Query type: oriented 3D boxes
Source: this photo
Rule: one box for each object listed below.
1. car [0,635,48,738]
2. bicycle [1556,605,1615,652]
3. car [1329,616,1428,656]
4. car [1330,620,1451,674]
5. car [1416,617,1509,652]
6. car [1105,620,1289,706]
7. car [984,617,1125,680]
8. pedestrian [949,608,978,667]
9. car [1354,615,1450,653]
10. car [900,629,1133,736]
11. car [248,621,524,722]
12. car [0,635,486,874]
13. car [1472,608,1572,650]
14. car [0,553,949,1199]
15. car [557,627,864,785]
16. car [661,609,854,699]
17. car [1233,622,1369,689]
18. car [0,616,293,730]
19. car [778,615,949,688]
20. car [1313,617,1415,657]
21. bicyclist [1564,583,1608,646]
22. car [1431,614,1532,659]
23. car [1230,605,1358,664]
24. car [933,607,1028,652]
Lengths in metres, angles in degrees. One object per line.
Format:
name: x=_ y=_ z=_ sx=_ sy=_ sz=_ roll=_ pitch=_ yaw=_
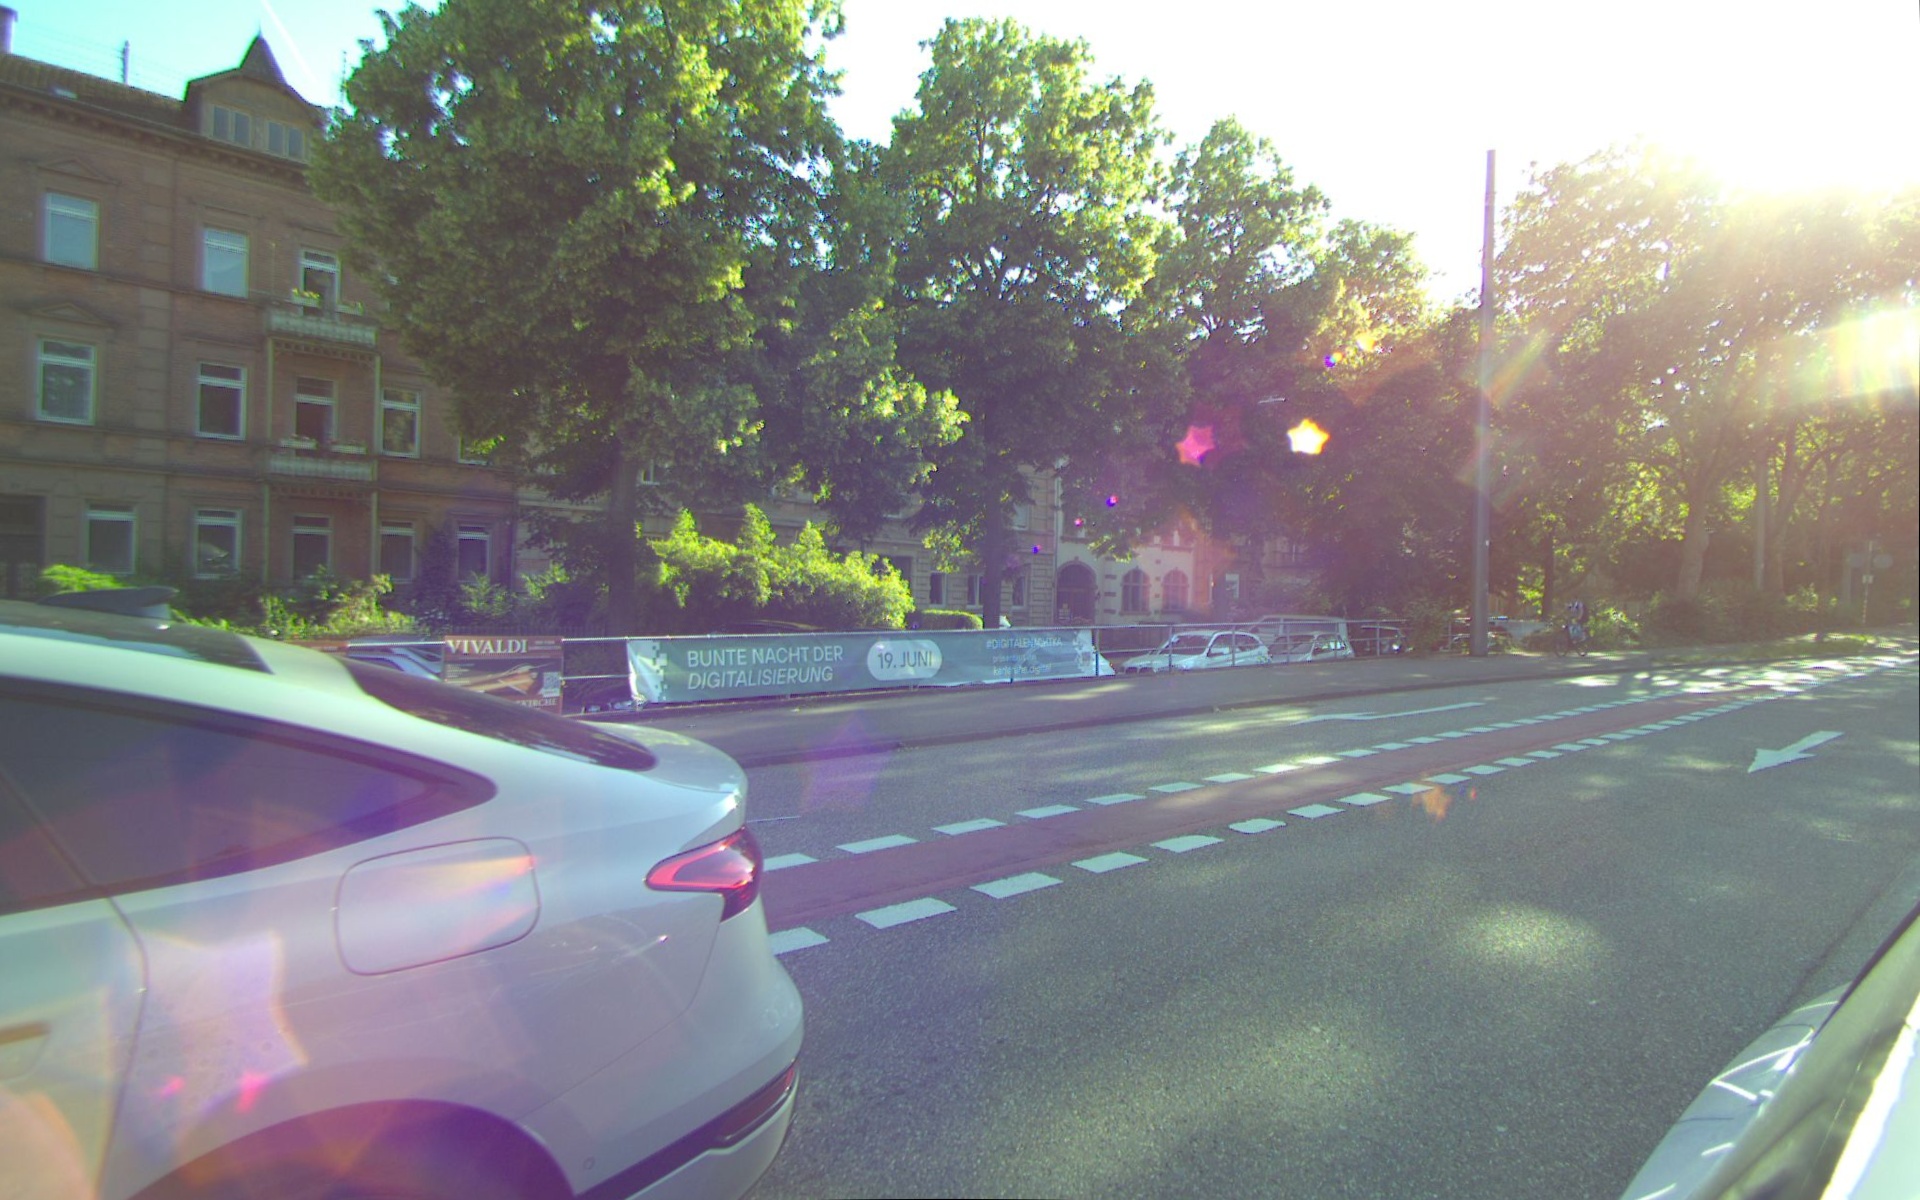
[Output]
car: x=-15.250 y=1.160 z=14.164 sx=3.940 sy=1.365 sz=1.772 roll=2 pitch=1 yaw=13
bicycle: x=15.741 y=0.686 z=25.447 sx=1.768 sy=1.121 sz=0.767 roll=0 pitch=1 yaw=-41
car: x=18.965 y=1.595 z=46.033 sx=3.947 sy=1.529 sz=1.790 roll=2 pitch=1 yaw=18
car: x=12.601 y=1.317 z=29.534 sx=3.932 sy=1.325 sz=1.796 roll=-1 pitch=1 yaw=-42
car: x=25.556 y=1.725 z=51.566 sx=3.947 sy=1.529 sz=1.790 roll=2 pitch=1 yaw=18
car: x=5.466 y=1.340 z=23.021 sx=4.474 sy=1.599 sz=1.797 roll=-1 pitch=1 yaw=-41
car: x=2.721 y=1.369 z=29.808 sx=1.769 sy=1.532 sz=3.994 roll=1 pitch=1 yaw=-42
pedestrian: x=0.110 y=1.127 z=30.968 sx=0.621 sy=1.768 sz=0.648 roll=0 pitch=0 yaw=-45
car: x=21.001 y=1.611 z=48.232 sx=3.947 sy=1.529 sz=1.790 roll=2 pitch=1 yaw=18
car: x=1.145 y=1.433 z=18.984 sx=4.365 sy=1.599 sz=1.797 roll=-1 pitch=1 yaw=-41
car: x=-10.324 y=1.220 z=18.291 sx=4.190 sy=1.424 sz=1.955 roll=2 pitch=1 yaw=16
car: x=-7.716 y=1.451 z=11.044 sx=4.286 sy=1.922 sz=1.796 roll=-1 pitch=1 yaw=-43
car: x=30.556 y=1.540 z=55.205 sx=4.408 sy=2.039 sz=1.984 roll=2 pitch=1 yaw=20
car: x=-2.454 y=0.679 z=1.251 sx=4.769 sy=1.491 sz=1.933 roll=0 pitch=1 yaw=-41
car: x=-3.569 y=1.412 z=15.055 sx=1.793 sy=1.825 sz=4.147 roll=0 pitch=1 yaw=42
car: x=-4.623 y=1.177 z=23.323 sx=3.939 sy=1.756 sz=1.793 roll=2 pitch=1 yaw=13
car: x=8.764 y=1.364 z=25.904 sx=3.516 sy=1.459 sz=1.796 roll=-1 pitch=1 yaw=-42
car: x=-13.252 y=1.112 z=16.401 sx=3.937 sy=1.498 sz=1.794 roll=2 pitch=1 yaw=11
car: x=-2.460 y=1.270 z=25.924 sx=3.951 sy=1.532 sz=1.788 roll=2 pitch=1 yaw=21
car: x=17.348 y=1.565 z=43.620 sx=3.871 sy=1.470 sz=1.680 roll=2 pitch=1 yaw=17
bicyclist: x=15.711 y=0.357 z=25.405 sx=0.639 sy=1.532 sz=0.767 roll=0 pitch=0 yaw=-41
car: x=17.769 y=1.205 z=34.397 sx=3.932 sy=1.325 sz=1.796 roll=-1 pitch=1 yaw=-42
car: x=13.019 y=1.307 z=39.664 sx=4.621 sy=1.990 sz=1.862 roll=2 pitch=1 yaw=18
car: x=0.782 y=1.119 z=39.840 sx=1.770 sy=1.541 sz=3.570 roll=0 pitch=2 yaw=-43
